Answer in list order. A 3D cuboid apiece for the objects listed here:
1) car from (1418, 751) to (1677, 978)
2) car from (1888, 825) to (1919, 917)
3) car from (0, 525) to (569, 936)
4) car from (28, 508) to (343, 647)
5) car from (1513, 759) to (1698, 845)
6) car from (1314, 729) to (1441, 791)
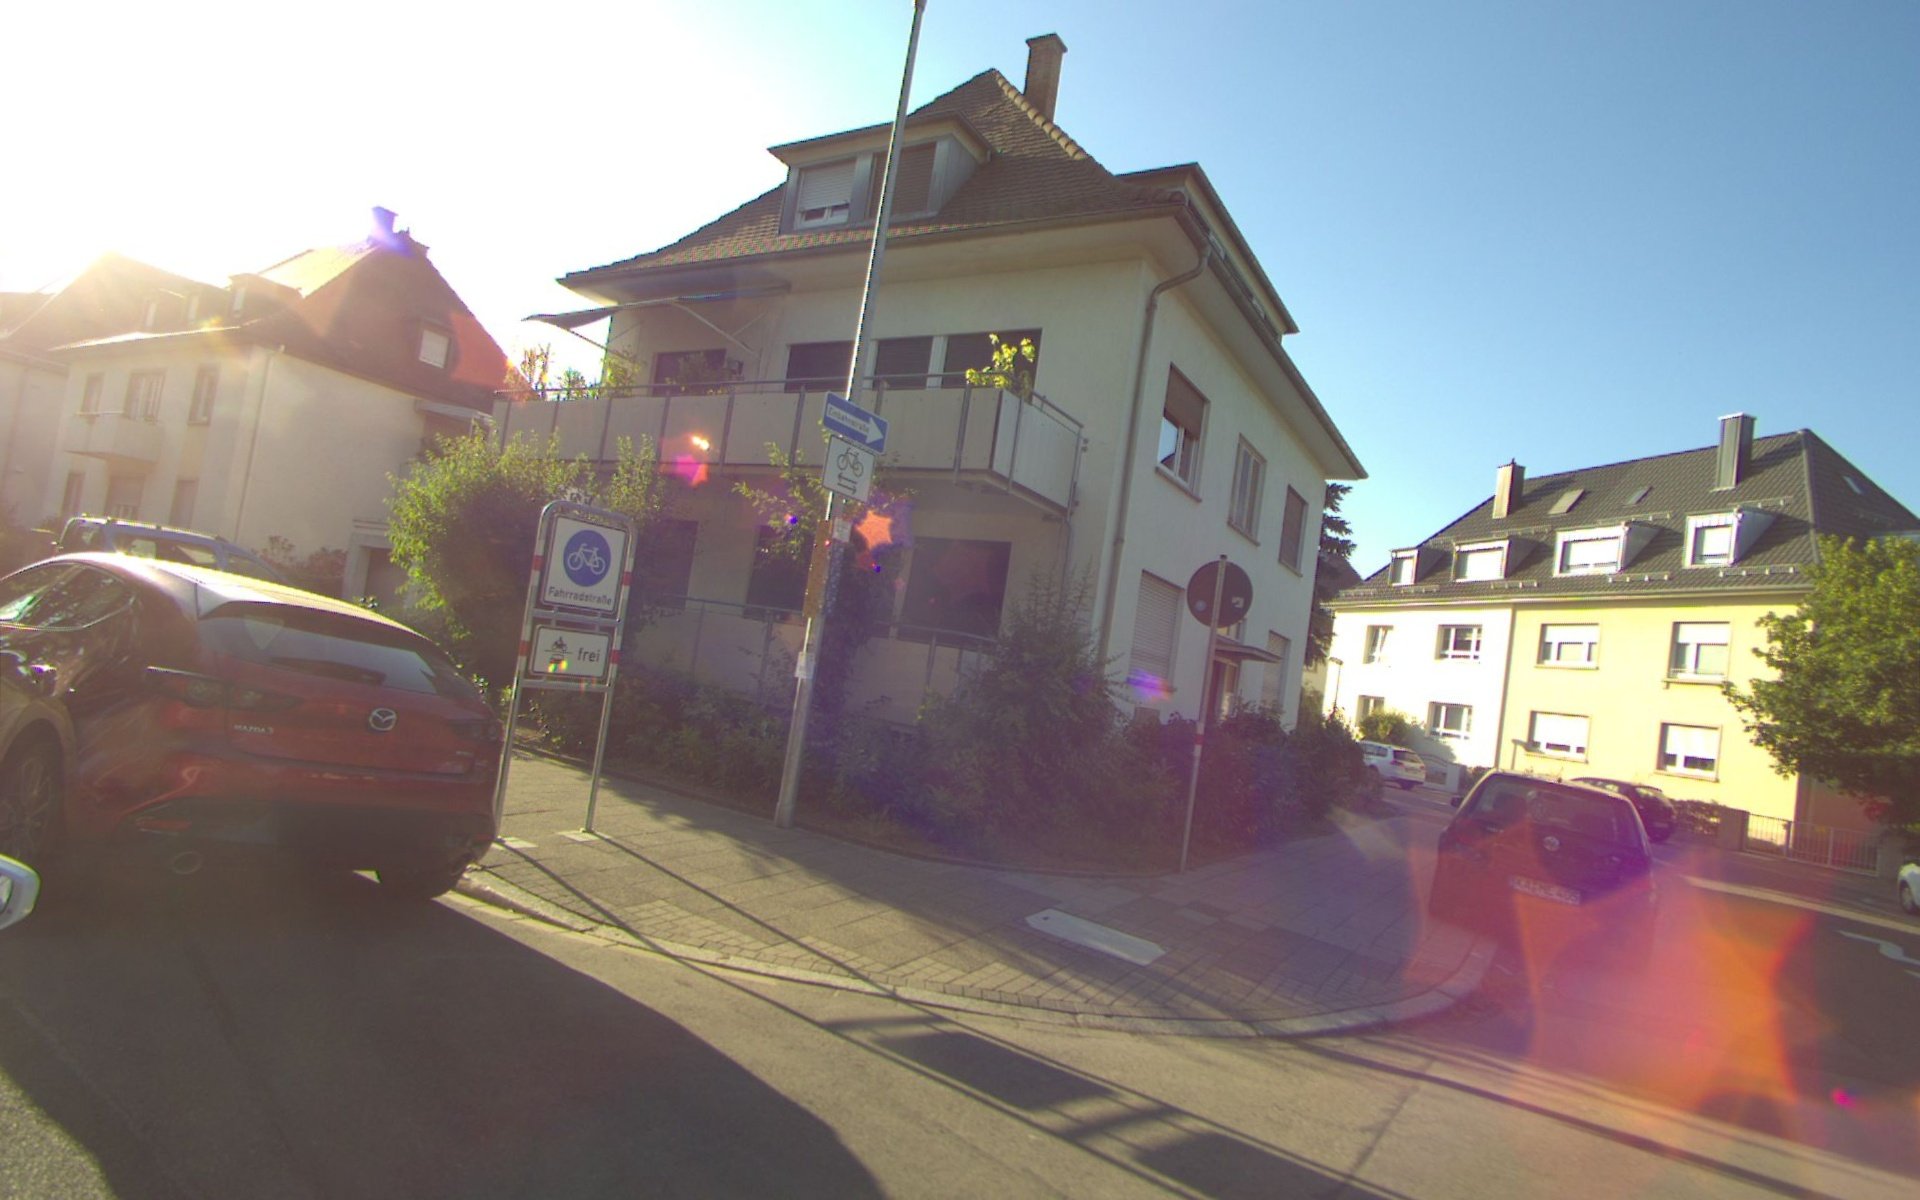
[{"bbox_3d":[5.684,2.382,9.778,1.688,1.461,4.001,5,-6,32],"label":"car"},{"bbox_3d":[17.277,4.740,16.812,1.497,1.538,3.941,5,-7,27],"label":"car"},{"bbox_3d":[-4.210,0.481,5.306,4.135,1.371,1.717,5,-8,32],"label":"car"},{"bbox_3d":[-13.681,-0.273,18.069,1.731,1.839,4.003,0,-8,27],"label":"car"},{"bbox_3d":[18.144,5.652,28.507,1.972,1.568,3.991,10,-4,-17],"label":"car"},{"bbox_3d":[15.410,5.890,37.334,1.973,1.586,4.095,10,-5,-20],"label":"car"}]
